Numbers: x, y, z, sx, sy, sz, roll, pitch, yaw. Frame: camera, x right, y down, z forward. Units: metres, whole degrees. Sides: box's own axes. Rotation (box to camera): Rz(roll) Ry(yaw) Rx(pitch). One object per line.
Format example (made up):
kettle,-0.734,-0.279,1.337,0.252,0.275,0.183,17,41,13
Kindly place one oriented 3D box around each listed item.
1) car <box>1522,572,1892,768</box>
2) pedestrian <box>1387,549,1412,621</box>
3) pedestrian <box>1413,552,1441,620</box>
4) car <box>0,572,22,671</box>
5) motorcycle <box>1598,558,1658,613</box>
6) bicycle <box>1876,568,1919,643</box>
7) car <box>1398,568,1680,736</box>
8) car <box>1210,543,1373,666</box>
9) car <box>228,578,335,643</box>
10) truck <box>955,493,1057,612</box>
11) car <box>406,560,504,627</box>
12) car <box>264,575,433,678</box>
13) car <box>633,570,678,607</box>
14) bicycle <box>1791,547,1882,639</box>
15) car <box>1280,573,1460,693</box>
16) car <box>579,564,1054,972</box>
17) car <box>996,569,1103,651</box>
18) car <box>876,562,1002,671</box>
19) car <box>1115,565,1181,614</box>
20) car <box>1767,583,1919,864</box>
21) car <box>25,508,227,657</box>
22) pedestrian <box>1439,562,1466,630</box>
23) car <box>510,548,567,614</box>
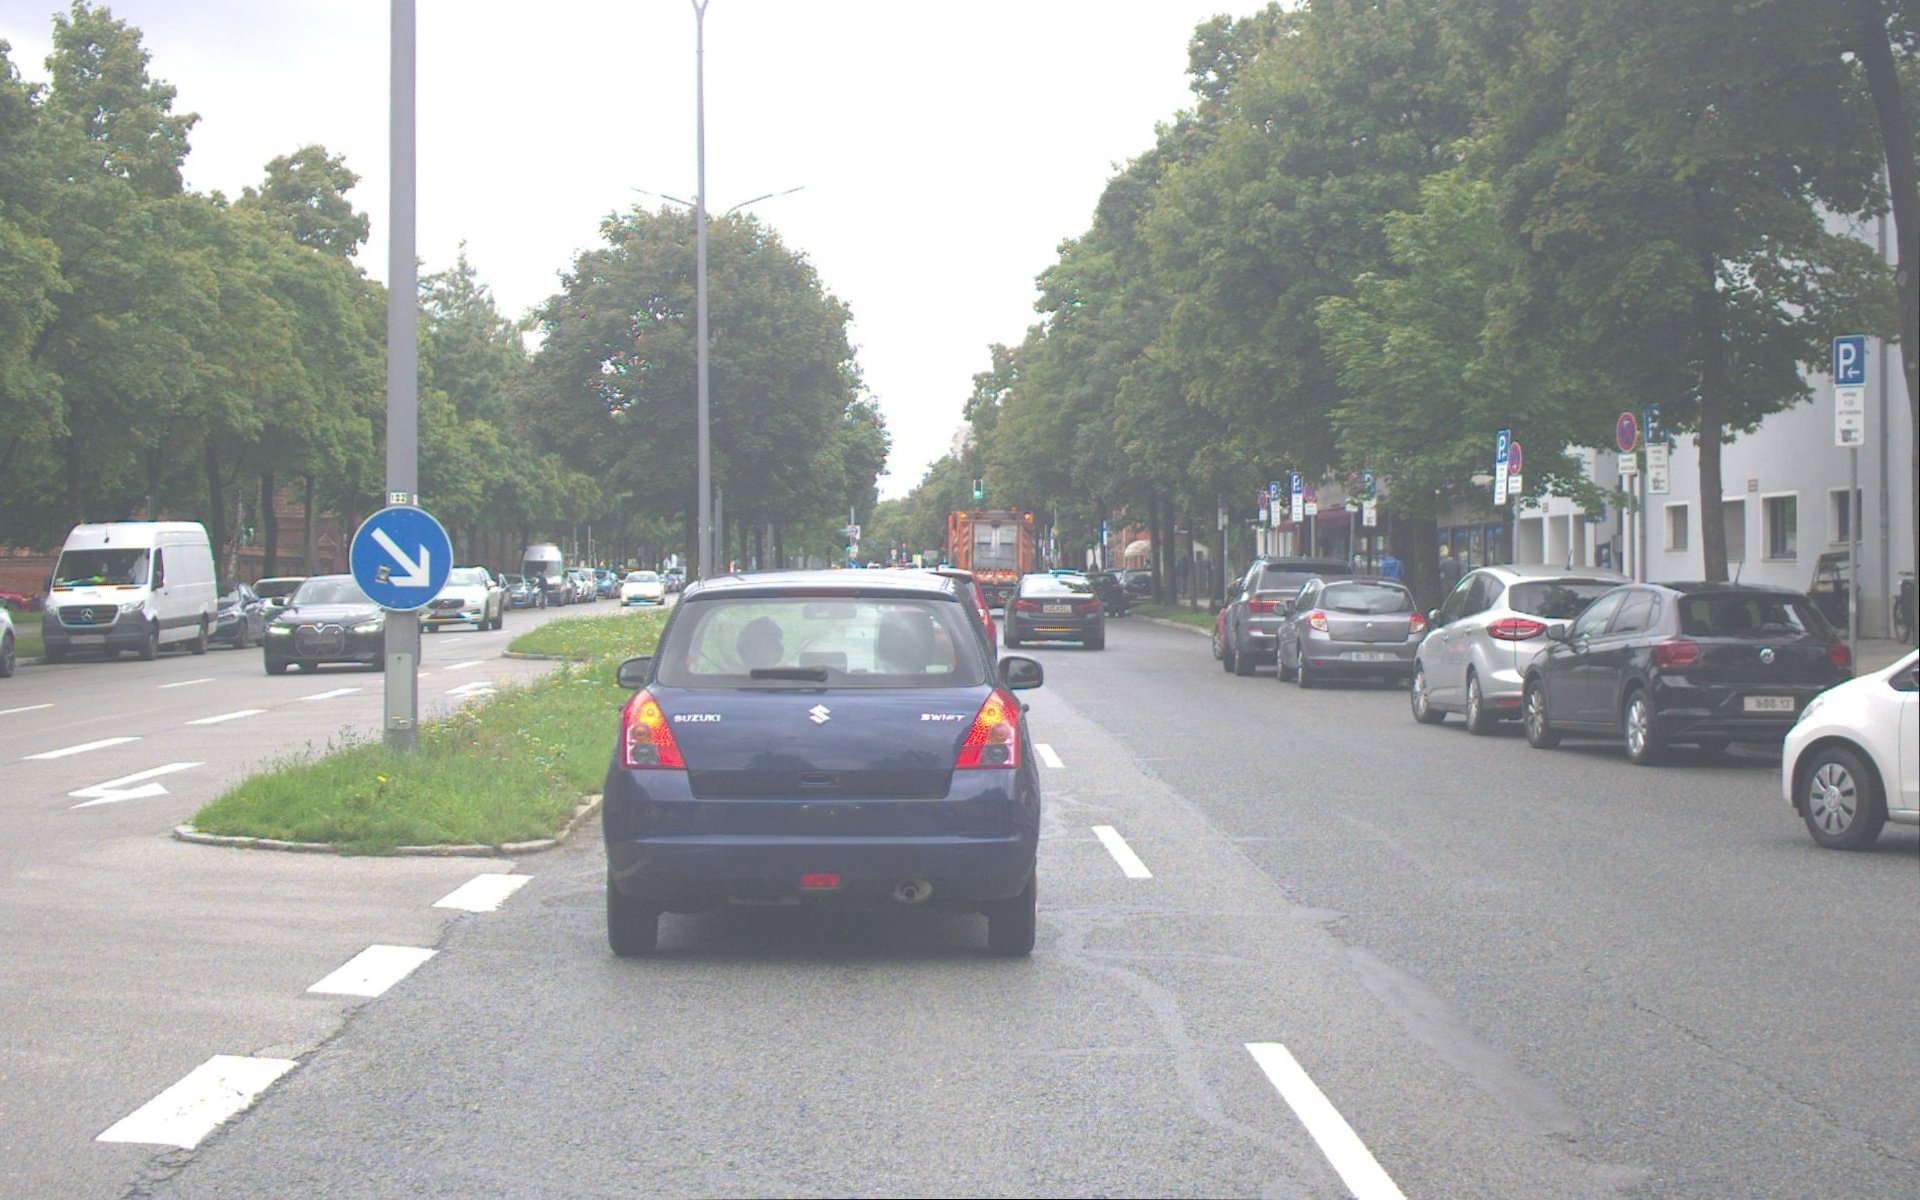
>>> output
car,5.977,0.512,27.974,1.829,1.468,3.889,0,1,-6
pedestrian,10.575,-0.370,82.796,0.499,1.727,0.733,0,0,-1
pedestrian,11.249,-0.339,82.847,0.549,1.624,0.641,-2,0,-1
car,-15.599,0.357,51.858,1.821,1.522,4.299,-2,0,-2
motorcycle,13.613,-0.303,70.138,0.761,1.082,2.199,-1,1,-1
bicycle,14.120,0.071,50.547,0.621,1.043,2.195,-4,1,-1
car,5.558,0.453,33.540,1.829,1.517,4.524,0,1,-2
car,4.876,0.038,51.148,1.829,1.740,4.509,0,1,-2
car,-16.028,0.253,81.406,1.857,1.485,4.142,0,0,-2
truck,1.378,-1.504,109.706,3.041,3.545,13.675,0,1,0
car,-12.889,-0.180,87.998,1.851,1.595,4.403,-2,1,0
car,-9.222,0.361,52.179,1.815,1.443,4.783,-1,1,-2
car,-13.343,-0.522,150.853,1.761,1.532,4.315,-3,1,-3
bicycle,13.943,-0.118,54.775,0.702,1.402,2.593,-2,1,-1
car,5.426,0.404,45.921,1.829,1.517,3.771,0,1,-2
car,-0.535,0.600,14.685,1.753,1.499,4.000,0,1,0
car,1.709,0.161,66.831,1.821,1.472,4.691,2,1,-1
car,-0.328,0.205,49.470,1.718,1.495,4.301,0,1,-1
car,6.471,-0.385,118.550,1.993,1.637,4.333,0,1,-1
car,6.203,0.663,18.266,1.687,1.485,3.434,0,1,-38
car,-15.847,-0.381,65.728,2.139,2.635,7.105,-2,1,-1
pedestrian,11.922,-0.096,83.256,0.541,1.635,0.724,0,0,-1
car,-19.360,-0.895,158.249,2.185,2.943,6.192,1,1,-3
